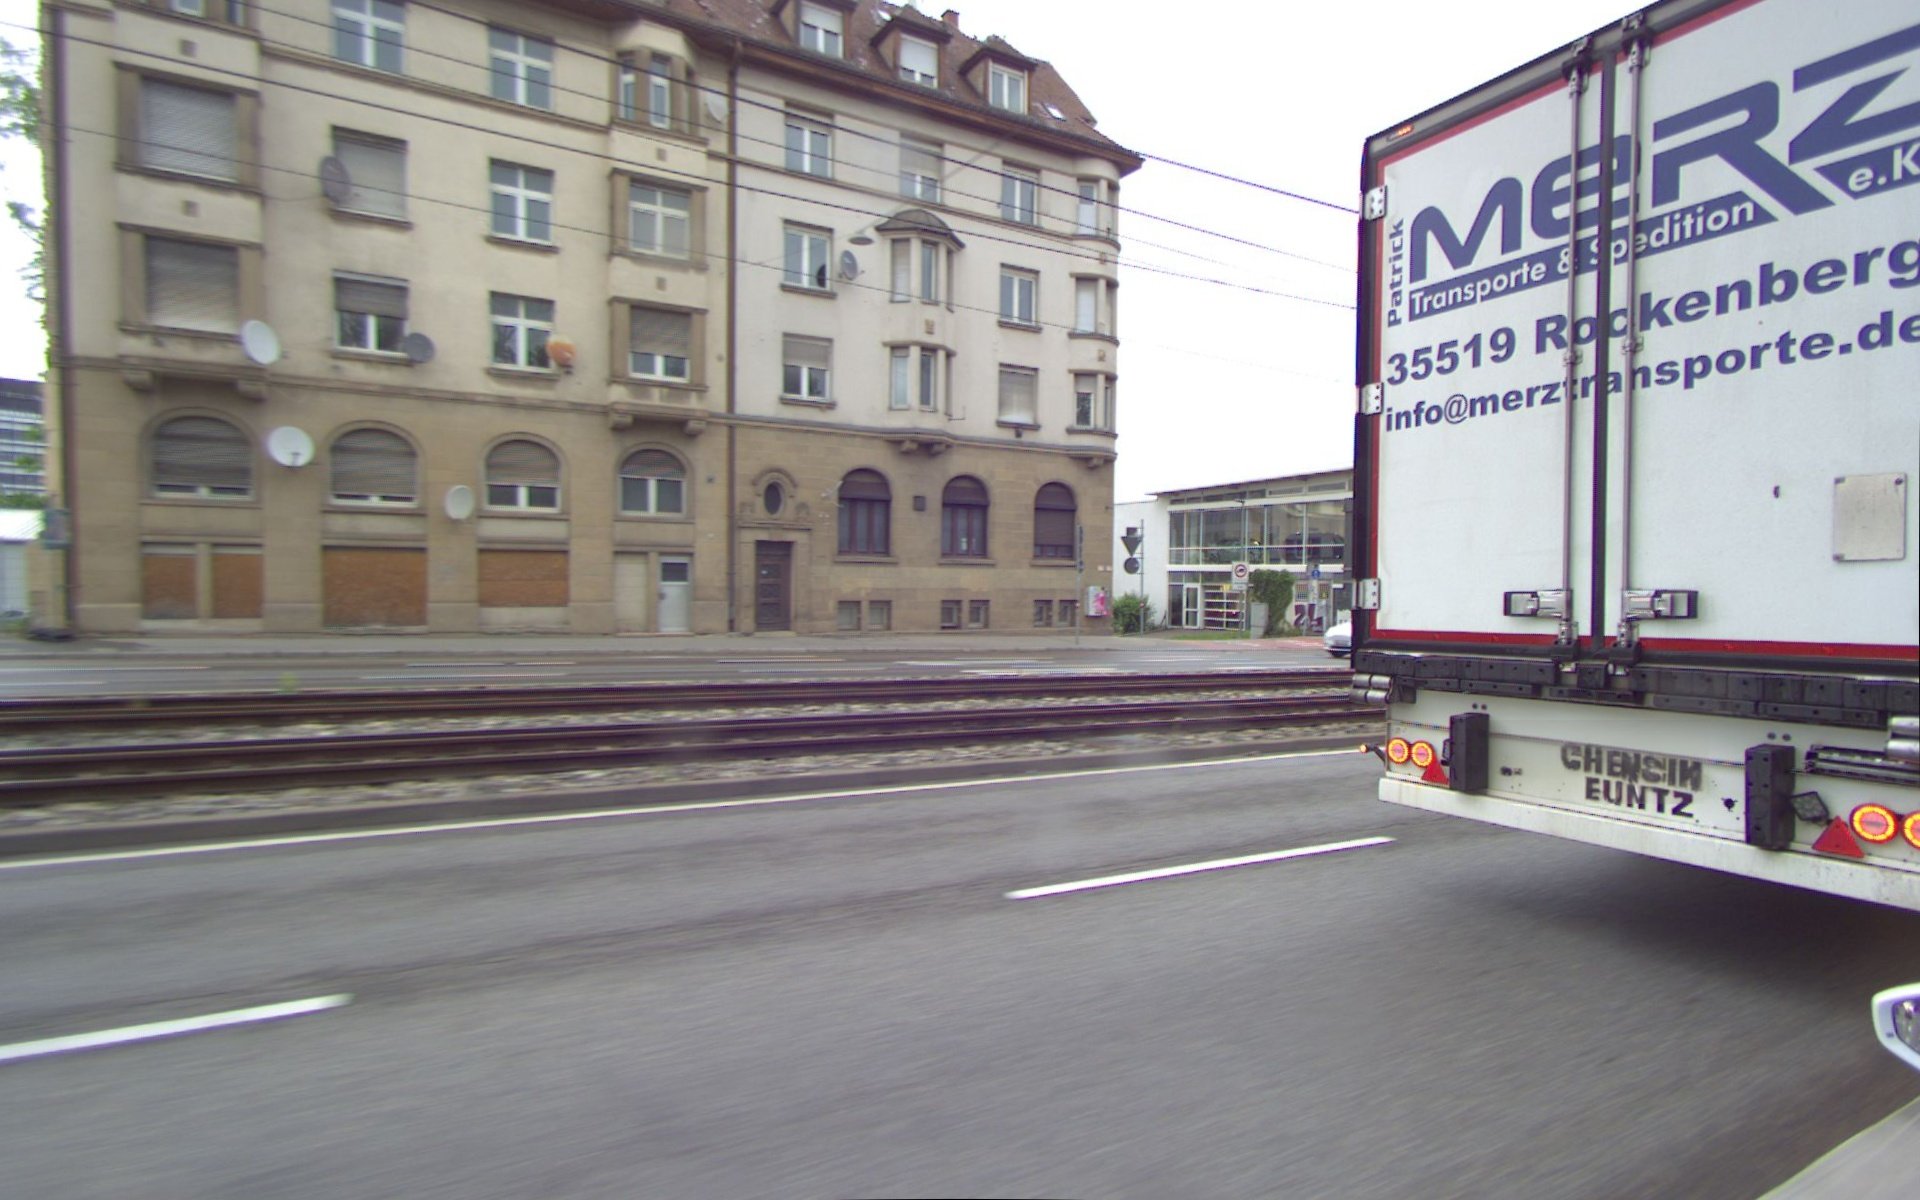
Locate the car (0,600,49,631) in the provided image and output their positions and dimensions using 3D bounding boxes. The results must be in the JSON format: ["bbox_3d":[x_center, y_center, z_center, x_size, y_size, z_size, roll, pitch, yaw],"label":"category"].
[{"bbox_3d":[-54.252,0.873,56.674,3.959,1.676,1.730,2,-1,-34],"label":"car"}]

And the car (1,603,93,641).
[{"bbox_3d":[-42.849,1.000,47.268,1.719,1.676,3.983,2,-1,-19],"label":"car"}]

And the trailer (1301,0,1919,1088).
[{"bbox_3d":[8.183,-0.432,7.646,13.028,4.309,2.749,1,-1,-30],"label":"trailer"}]
